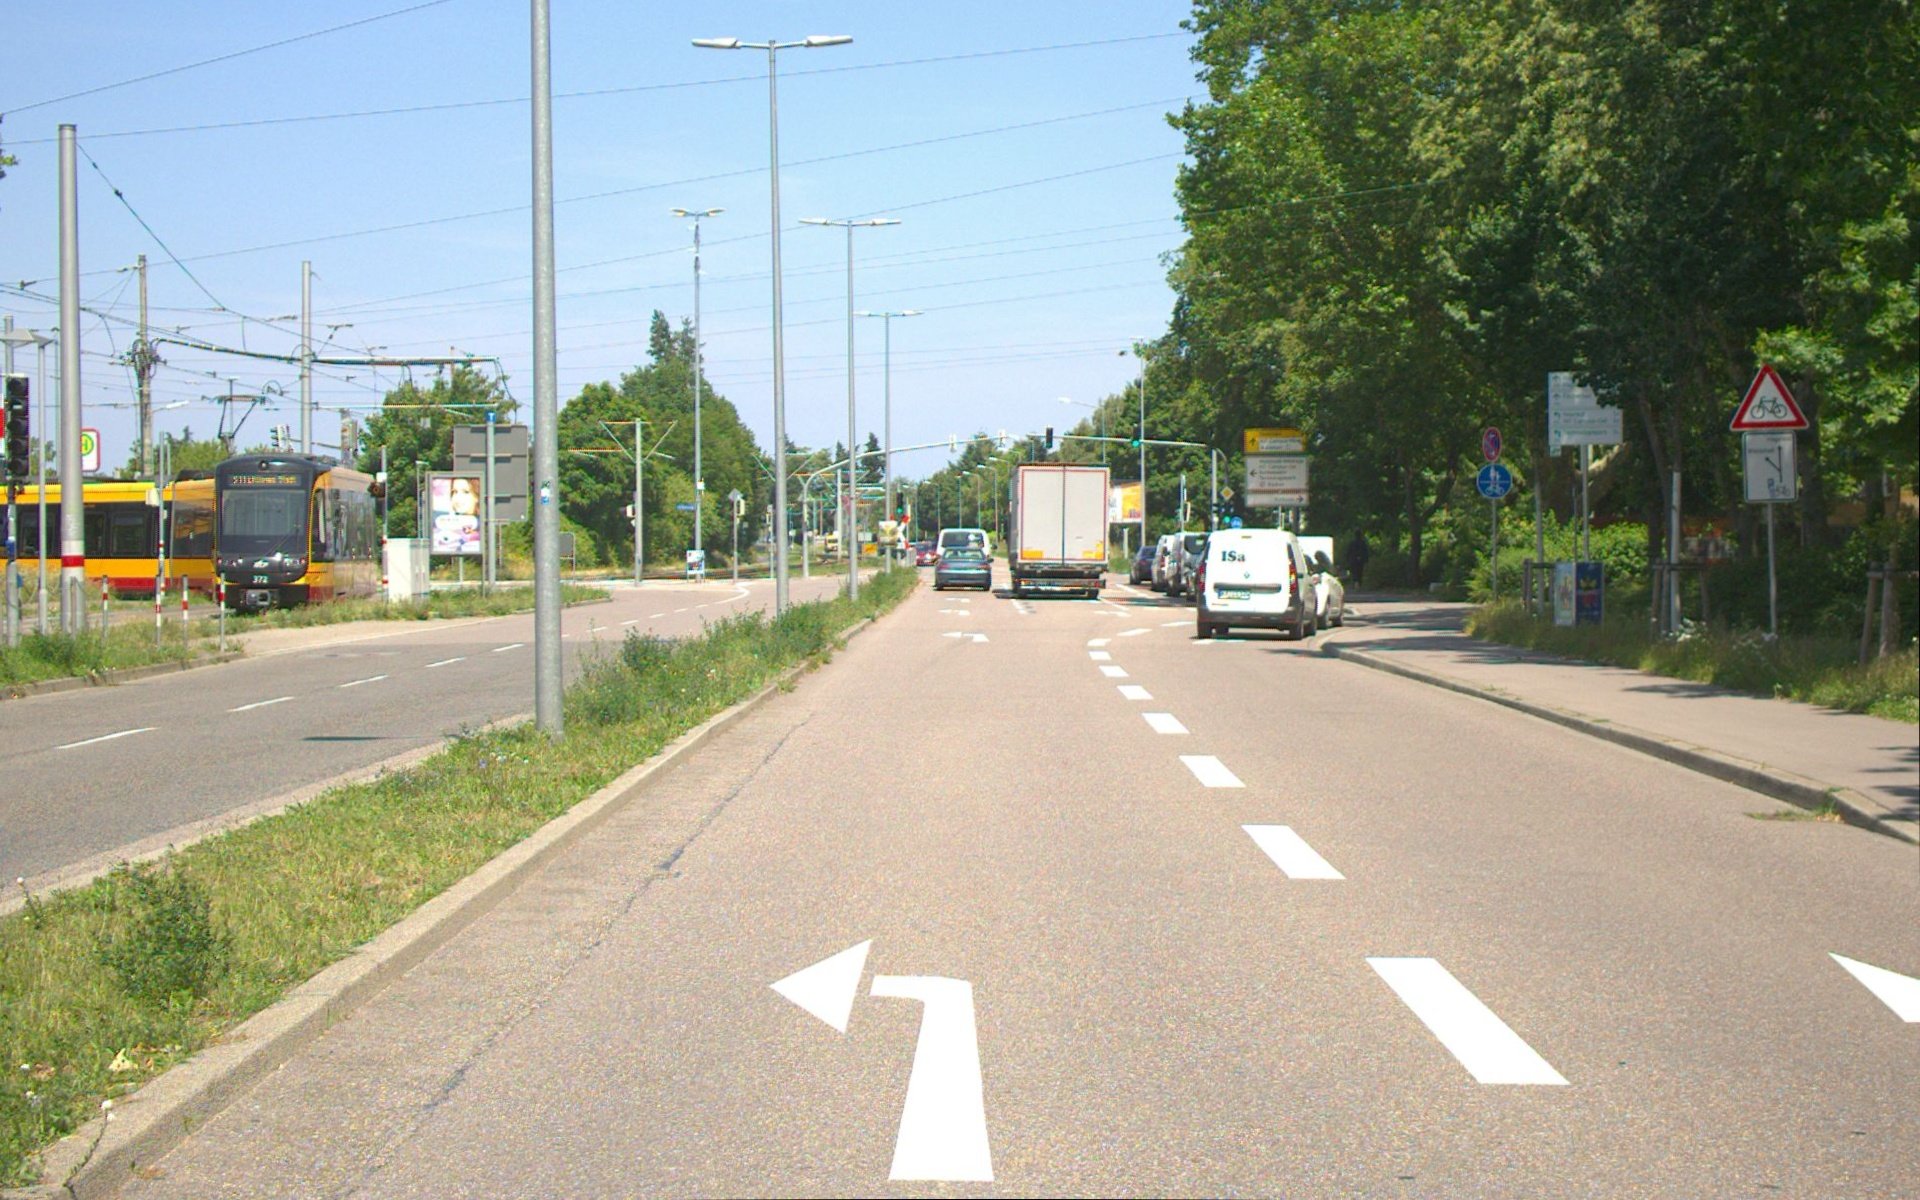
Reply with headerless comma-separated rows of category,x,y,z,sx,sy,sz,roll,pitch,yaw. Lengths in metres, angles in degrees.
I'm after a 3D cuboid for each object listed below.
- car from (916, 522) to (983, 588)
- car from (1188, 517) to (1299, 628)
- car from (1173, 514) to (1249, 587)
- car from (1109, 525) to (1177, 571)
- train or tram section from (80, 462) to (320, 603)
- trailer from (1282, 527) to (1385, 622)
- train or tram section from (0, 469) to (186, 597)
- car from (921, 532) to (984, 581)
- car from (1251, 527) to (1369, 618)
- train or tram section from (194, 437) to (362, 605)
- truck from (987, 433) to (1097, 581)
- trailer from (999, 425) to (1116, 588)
car,-0.375,-1.539,116.441,1.993,2.103,4.749,0,2,-4
car,4.659,-0.484,56.961,1.710,1.741,4.427,1,1,3
car,7.522,-1.506,103.472,1.890,2.114,3.887,1,1,-1
car,5.997,-1.723,113.098,1.993,1.432,4.251,0,2,0
train or tram section,-19.993,-1.814,89.879,3.036,3.454,10.225,1,1,-31
trailer,6.786,-0.483,62.705,1.468,1.663,2.856,1,1,-1
train or tram section,-26.962,-1.998,99.003,3.038,3.454,12.744,0,2,-43
car,-0.257,-1.372,109.476,1.892,1.367,4.430,2,0,0
car,6.715,-0.558,66.337,1.699,1.648,4.399,1,1,-1
train or tram section,-15.457,-1.823,78.711,3.035,3.454,13.296,1,1,-8
truck,2.481,-2.917,106.949,2.827,4.329,8.285,2,2,-2
trailer,2.715,-2.656,98.390,2.827,4.406,8.750,1,1,-1
